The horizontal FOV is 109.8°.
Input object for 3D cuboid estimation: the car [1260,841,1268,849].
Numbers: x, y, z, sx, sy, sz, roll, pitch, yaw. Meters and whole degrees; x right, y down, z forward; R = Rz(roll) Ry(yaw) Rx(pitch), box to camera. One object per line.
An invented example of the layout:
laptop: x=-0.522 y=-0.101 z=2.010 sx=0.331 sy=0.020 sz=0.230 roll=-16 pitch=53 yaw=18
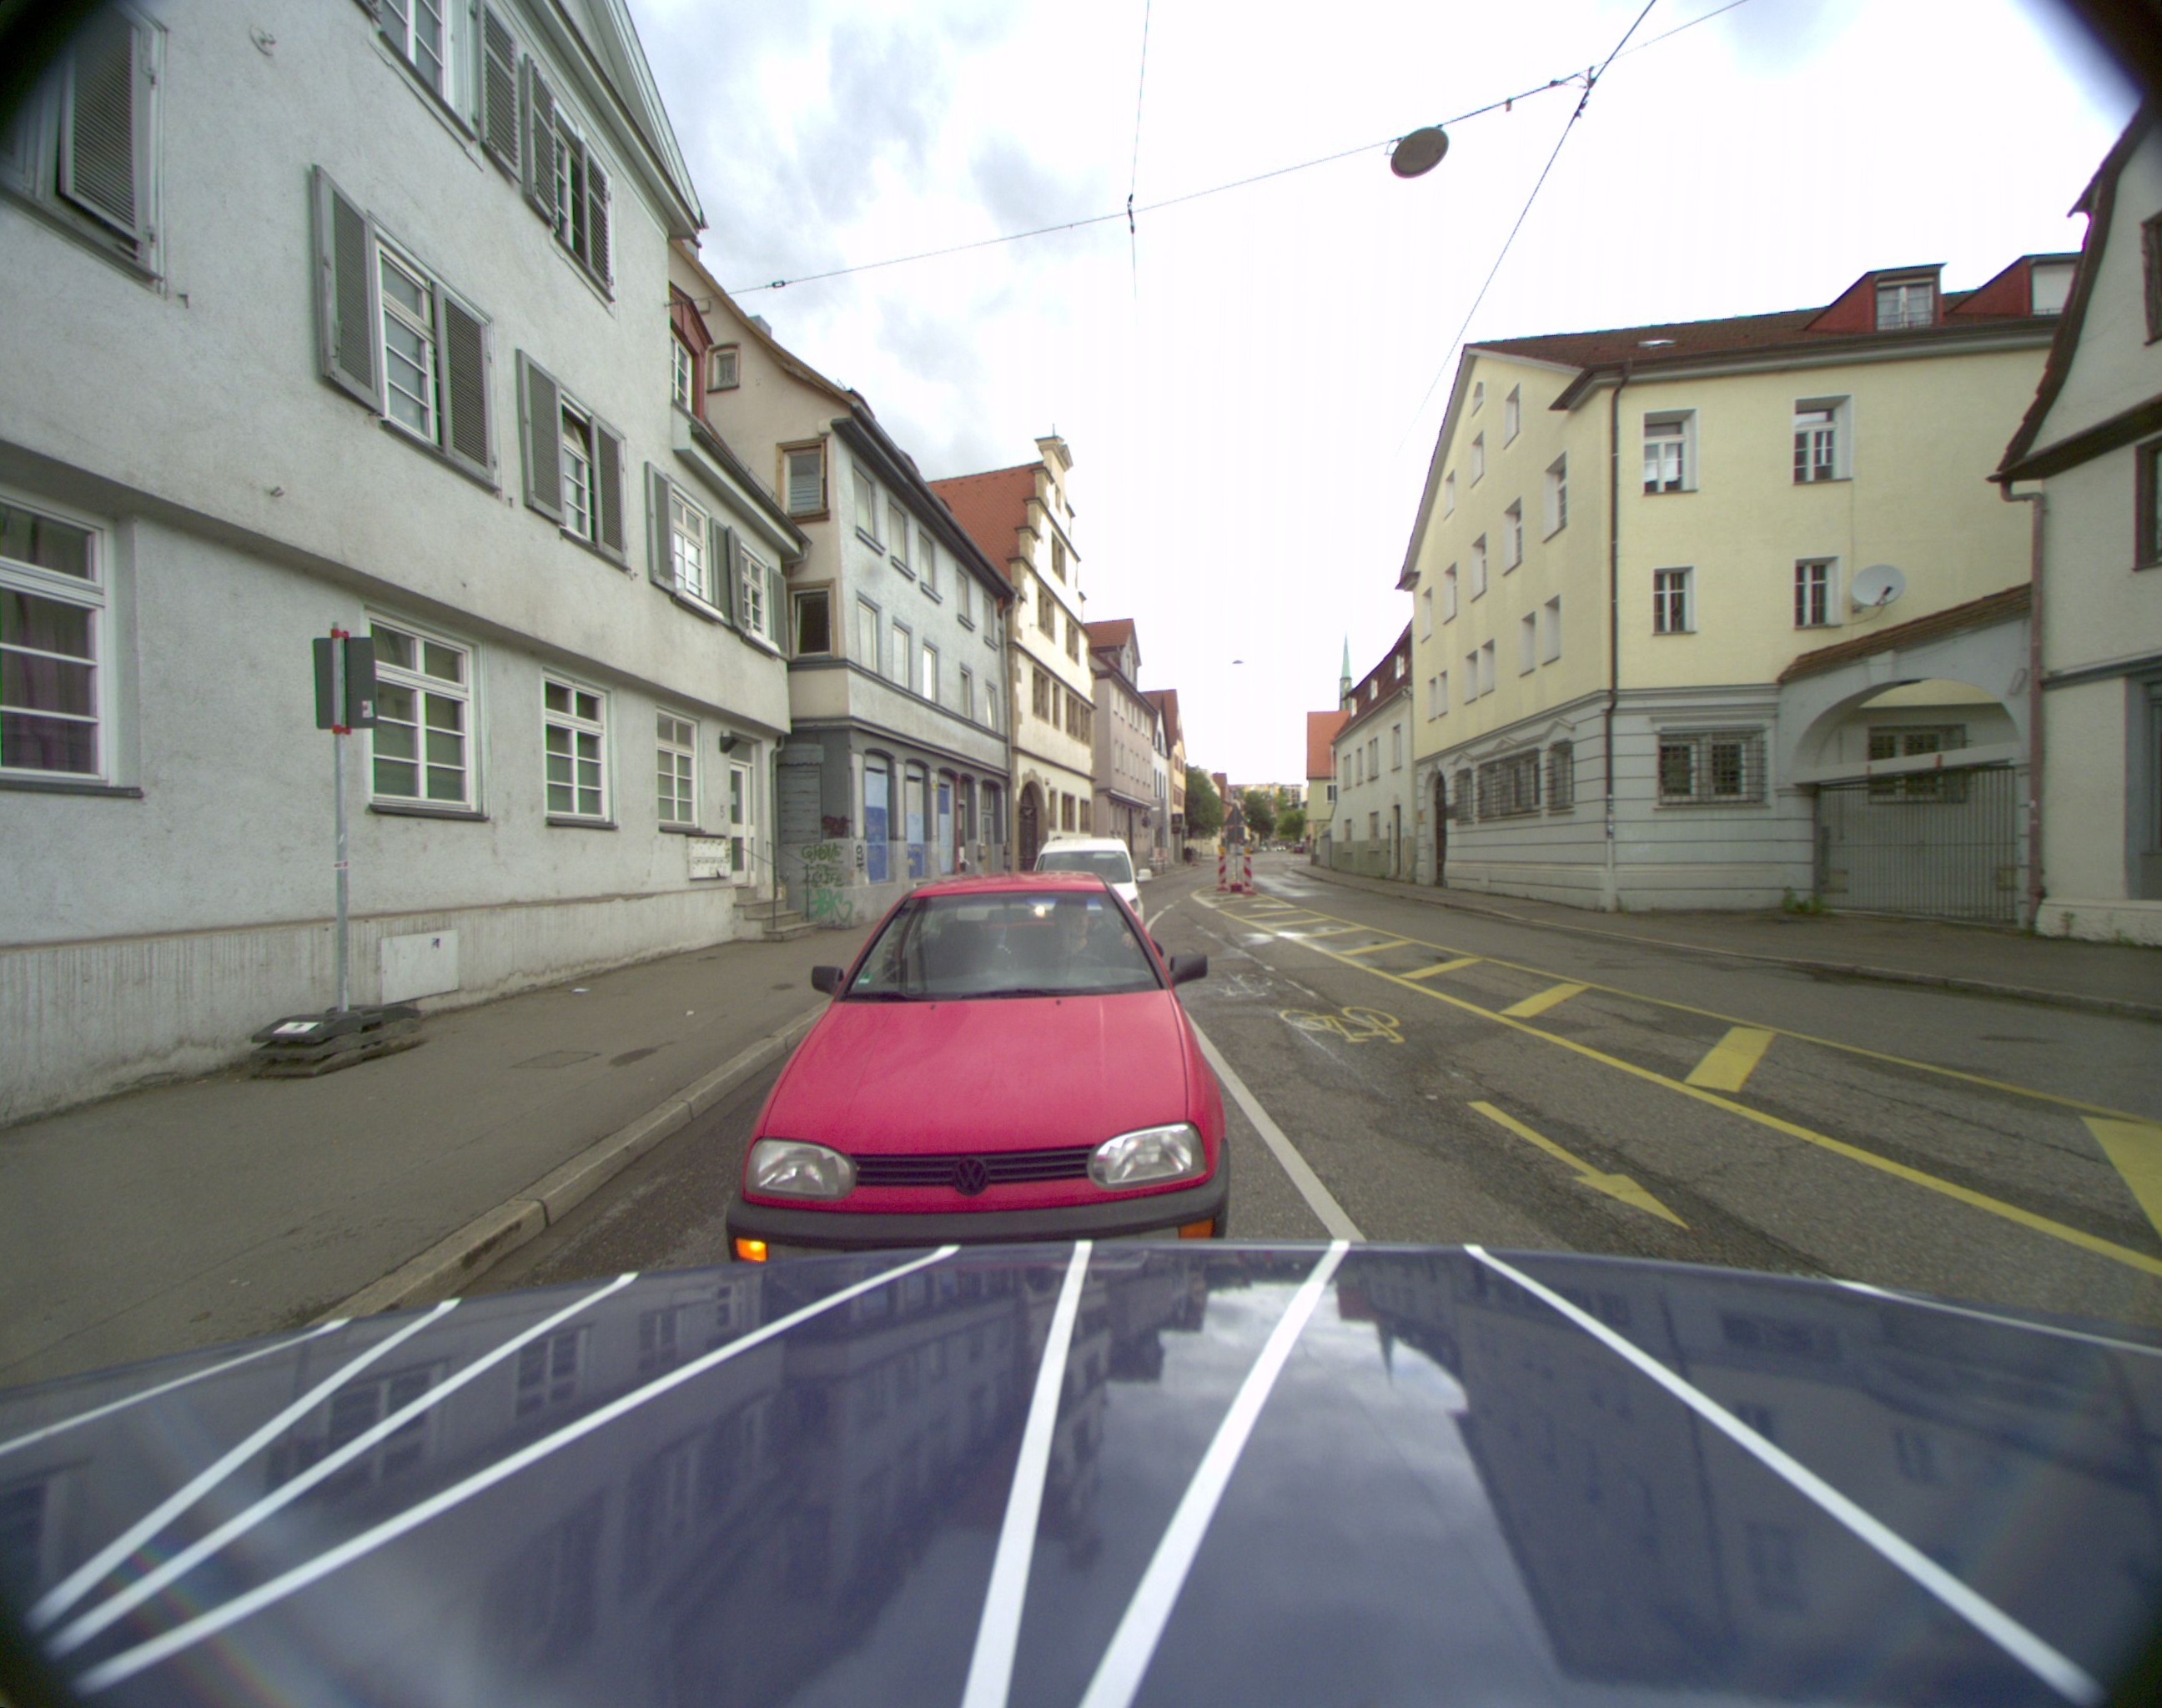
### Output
car: x=44.965 y=-2.173 z=186.812 sx=1.996 sy=2.002 sz=4.004 roll=-1 pitch=0 yaw=13

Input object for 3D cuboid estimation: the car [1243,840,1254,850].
car: x=34.021 y=-1.770 z=154.271 sx=1.996 sy=2.002 sz=4.004 roll=-1 pitch=0 yaw=13

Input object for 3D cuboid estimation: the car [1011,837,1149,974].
car: x=0.014 y=0.690 z=12.213 sx=1.804 sy=1.781 sz=4.349 roll=-1 pitch=0 yaw=1

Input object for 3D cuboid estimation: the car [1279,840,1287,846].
car: x=63.951 y=-3.460 z=240.616 sx=1.996 sy=2.002 sz=4.004 roll=-1 pitch=0 yaw=13

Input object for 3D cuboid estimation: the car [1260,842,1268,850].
car: x=48.486 y=-2.124 z=201.286 sx=1.996 sy=2.002 sz=4.004 roll=-1 pitch=0 yaw=13

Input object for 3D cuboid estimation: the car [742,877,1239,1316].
car: x=-0.316 y=0.986 z=4.890 sx=1.804 sy=1.458 sz=4.000 roll=-4 pitch=0 yaw=1

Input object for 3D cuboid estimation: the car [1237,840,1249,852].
car: x=28.461 y=-1.356 z=133.502 sx=1.996 sy=2.002 sz=4.004 roll=-1 pitch=0 yaw=13

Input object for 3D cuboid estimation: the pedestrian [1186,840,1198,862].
pedestrian: x=9.640 y=-0.224 z=66.088 sx=0.877 sy=1.888 sz=0.898 roll=-1 pitch=0 yaw=14

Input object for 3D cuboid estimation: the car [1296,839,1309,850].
car: x=42.734 y=-1.789 z=146.581 sx=2.057 sy=2.002 sz=4.004 roll=-1 pitch=0 yaw=13
